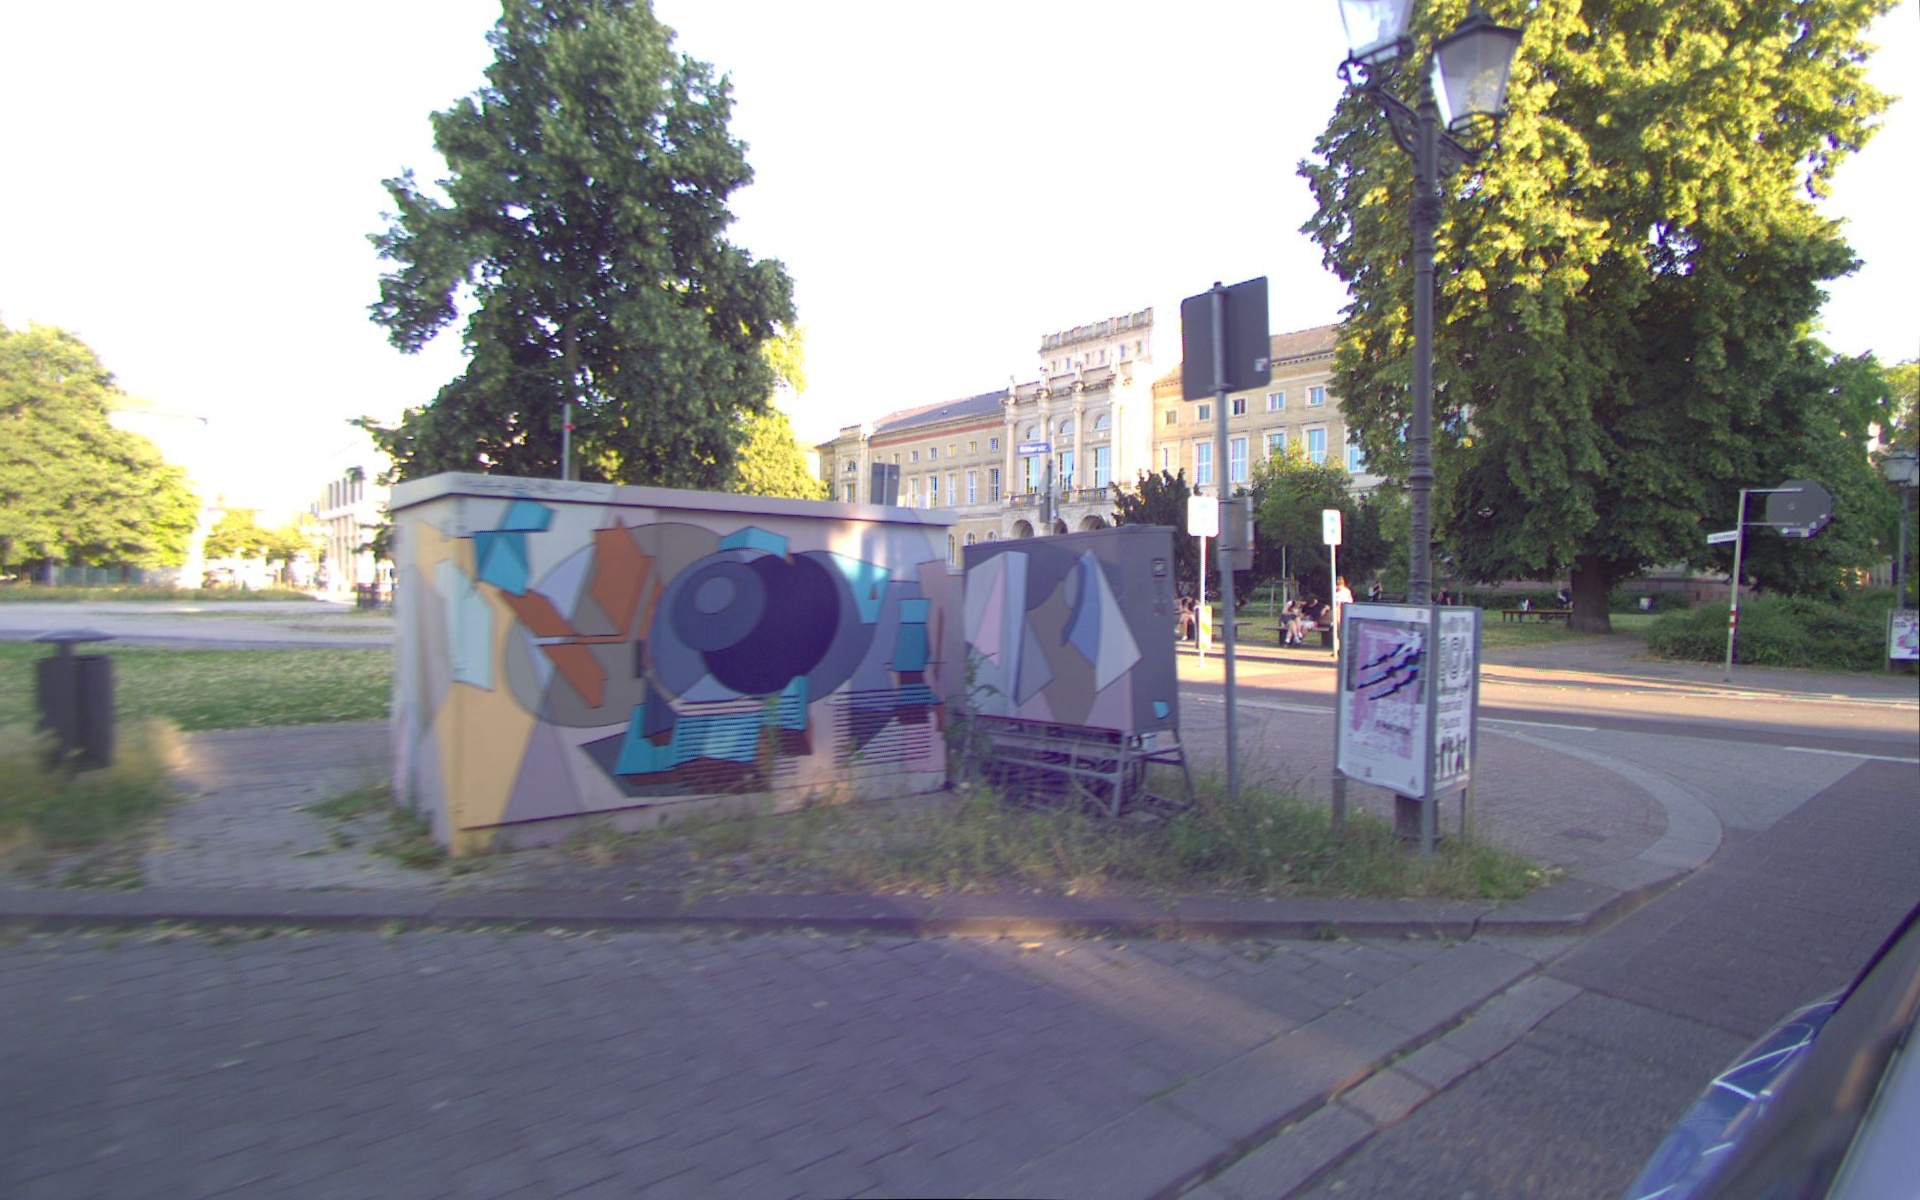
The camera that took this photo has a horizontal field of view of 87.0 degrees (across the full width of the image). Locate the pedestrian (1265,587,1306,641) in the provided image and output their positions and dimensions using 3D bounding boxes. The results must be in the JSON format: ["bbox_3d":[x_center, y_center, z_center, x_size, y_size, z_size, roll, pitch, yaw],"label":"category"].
[{"bbox_3d":[7.591,0.312,23.562,0.527,1.219,0.955,1,1,45],"label":"pedestrian"}]

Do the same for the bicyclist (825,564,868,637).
[{"bbox_3d":[-2.473,-0.003,22.018,0.639,1.547,0.724,0,1,-36],"label":"bicyclist"}]

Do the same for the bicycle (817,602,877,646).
[{"bbox_3d":[-2.474,0.502,22.004,0.536,0.878,1.714,0,2,-35],"label":"bicycle"}]

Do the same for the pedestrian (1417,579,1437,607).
[{"bbox_3d":[19.173,-0.277,41.552,0.593,1.123,0.395,1,1,6],"label":"pedestrian"}]

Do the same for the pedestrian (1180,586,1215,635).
[{"bbox_3d":[6.047,0.264,25.793,0.606,1.229,0.656,1,1,45],"label":"pedestrian"}]

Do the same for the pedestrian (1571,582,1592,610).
[{"bbox_3d":[24.030,-0.141,39.123,0.596,1.064,0.393,1,1,18],"label":"pedestrian"}]

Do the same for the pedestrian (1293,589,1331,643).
[{"bbox_3d":[8.092,0.352,23.267,0.606,1.219,0.656,1,1,45],"label":"pedestrian"}]

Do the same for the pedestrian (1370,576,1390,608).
[{"bbox_3d":[19.917,-0.394,47.974,0.742,1.462,0.814,1,1,16],"label":"pedestrian"}]

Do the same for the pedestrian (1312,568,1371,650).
[{"bbox_3d":[7.884,0.166,20.922,0.742,1.646,0.860,0,1,-32],"label":"pedestrian"}]

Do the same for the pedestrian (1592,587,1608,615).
[{"bbox_3d":[24.866,0.038,39.307,0.390,1.064,0.600,1,1,19],"label":"pedestrian"}]

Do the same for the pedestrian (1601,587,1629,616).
[{"bbox_3d":[24.977,0.051,38.614,0.785,1.064,0.393,1,1,15],"label":"pedestrian"}]

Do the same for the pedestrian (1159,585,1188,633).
[{"bbox_3d":[5.544,0.226,26.312,0.499,1.229,0.583,1,1,45],"label":"pedestrian"}]

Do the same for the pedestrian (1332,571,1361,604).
[{"bbox_3d":[24.561,-0.816,64.308,0.965,2.039,1.394,2,0,-42],"label":"pedestrian"}]

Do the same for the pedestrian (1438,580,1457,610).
[{"bbox_3d":[19.854,-0.212,41.217,0.594,1.217,0.394,1,1,10],"label":"pedestrian"}]

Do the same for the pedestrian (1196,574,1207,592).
[{"bbox_3d":[17.333,-1.239,72.565,0.499,1.304,0.583,1,1,45],"label":"pedestrian"}]
